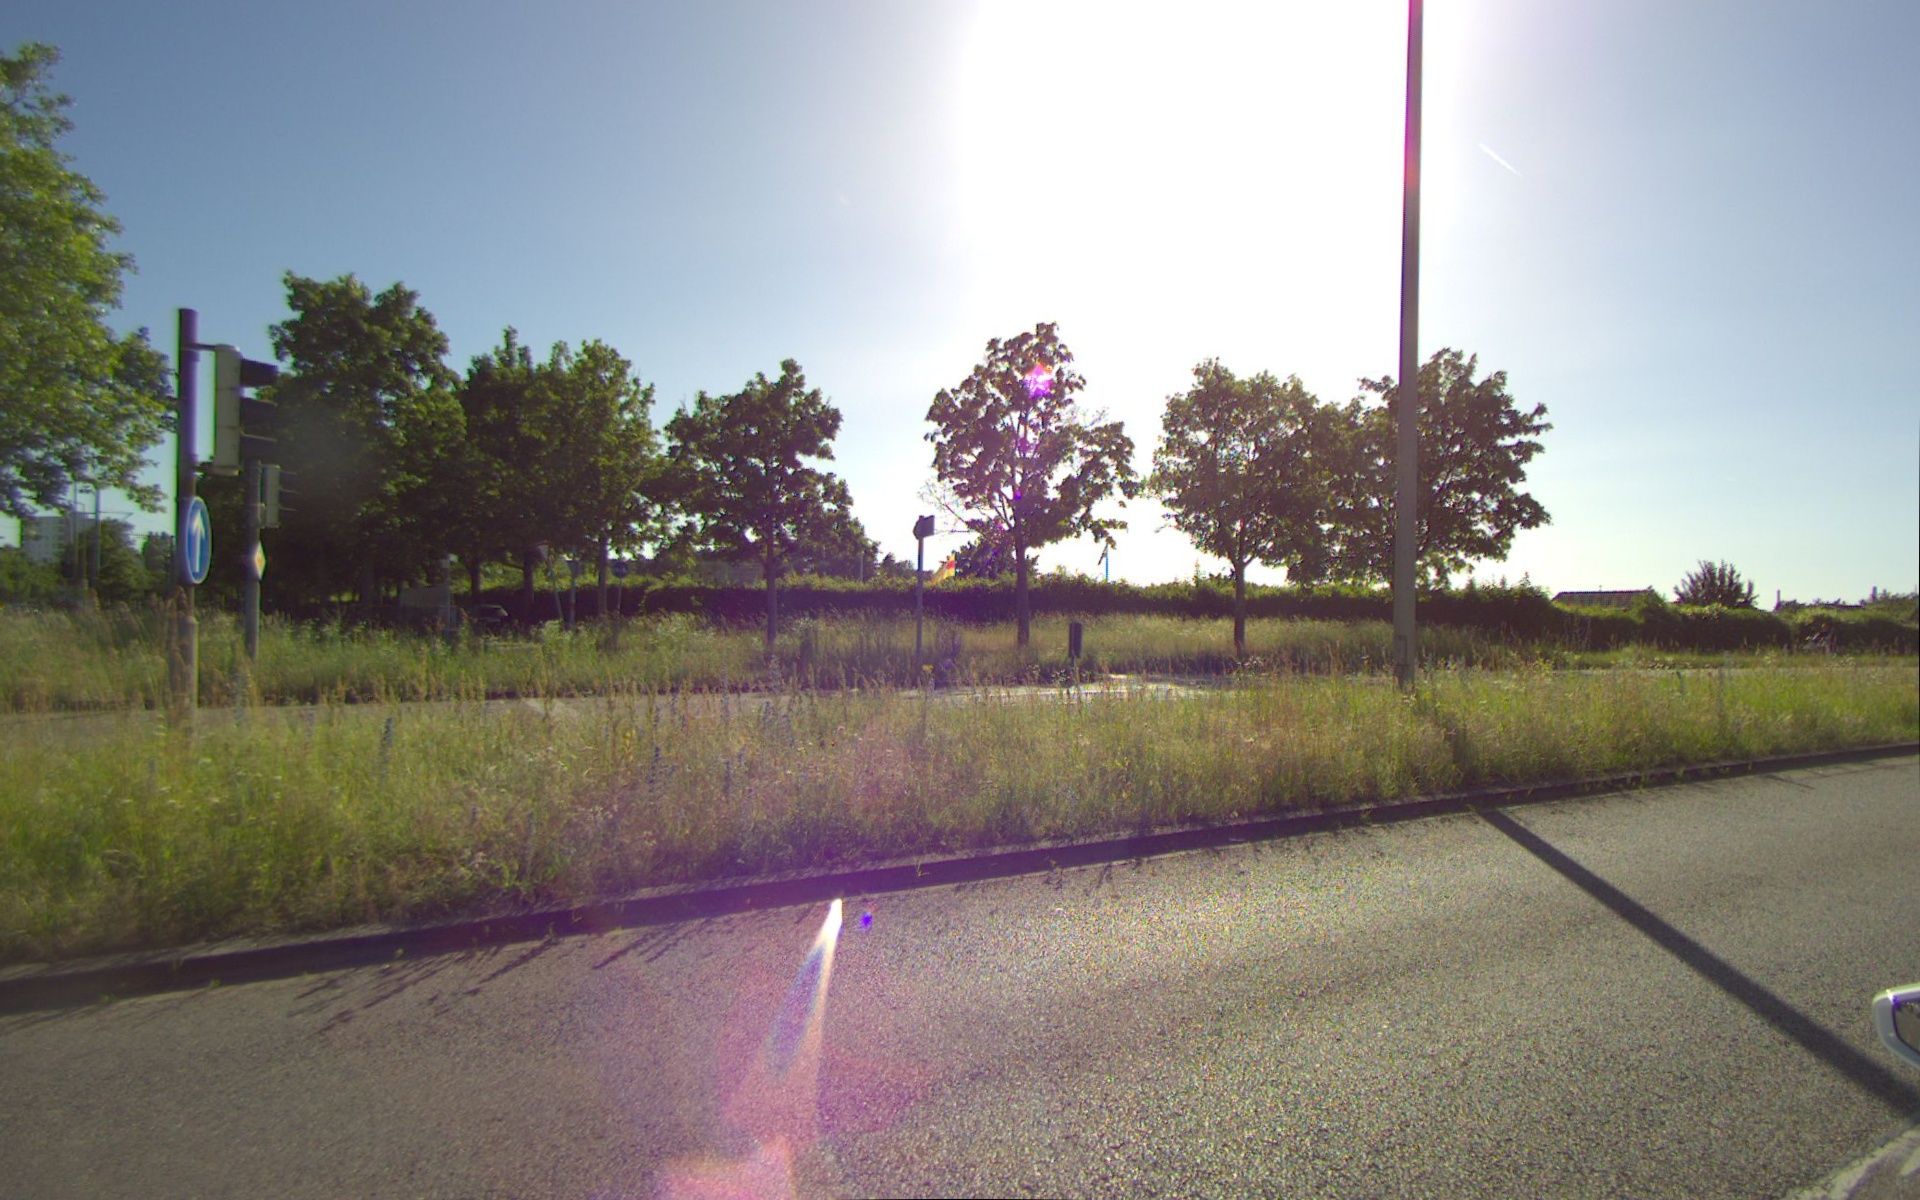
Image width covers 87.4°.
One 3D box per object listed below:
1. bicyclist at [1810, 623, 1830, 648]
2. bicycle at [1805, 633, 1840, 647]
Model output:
[{"bbox_3d":[43.649,1.797,50.979,0.567,1.273,0.582,1,0,-21],"label":"bicyclist"},{"bbox_3d":[43.849,2.040,51.054,1.847,0.704,0.564,1,0,-21],"label":"bicycle"}]
